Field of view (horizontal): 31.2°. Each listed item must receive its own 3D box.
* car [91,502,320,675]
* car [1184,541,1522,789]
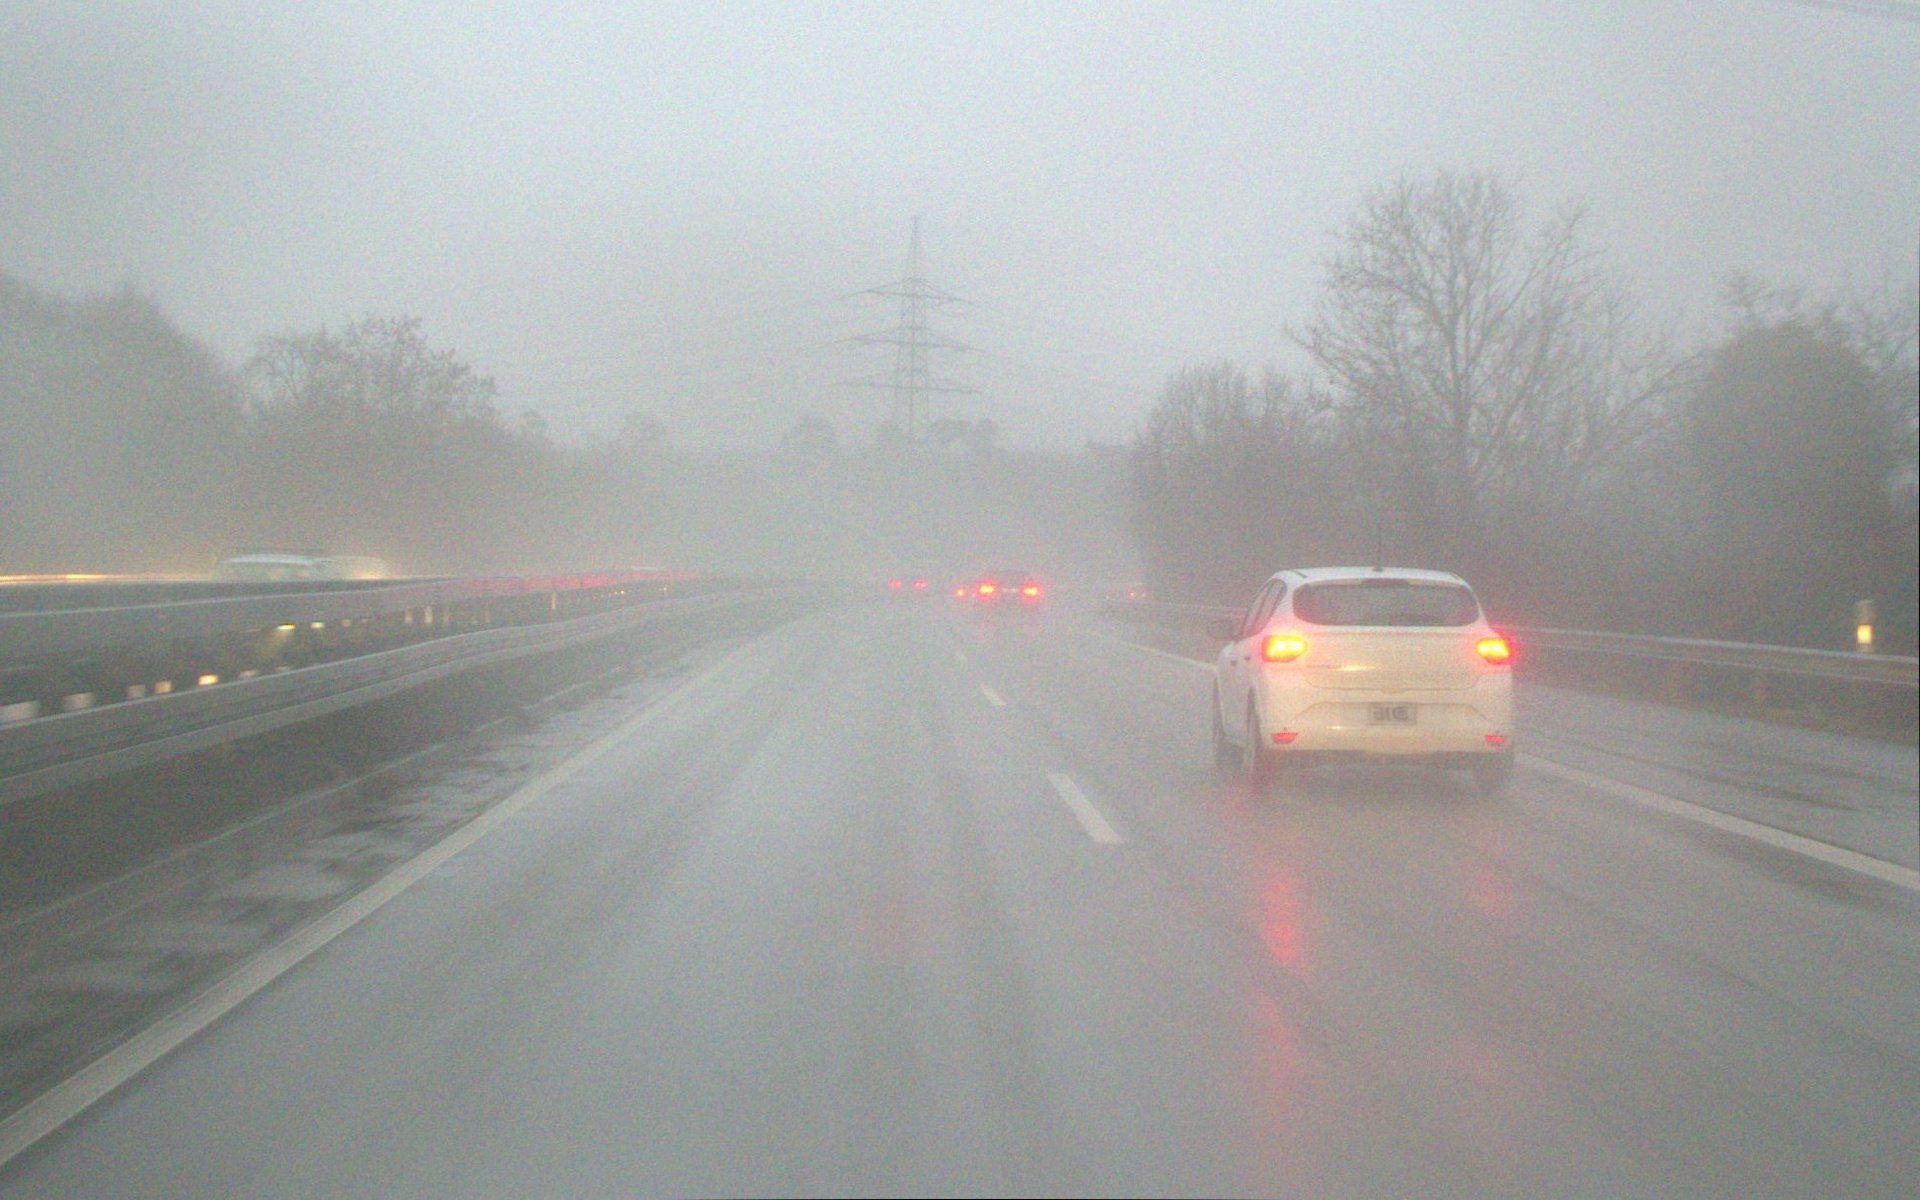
[{"bbox_3d":[-9.229,-0.163,42.334,1.993,2.007,4.000,1,1,-1],"label":"car"},{"bbox_3d":[2.731,0.398,24.689,1.845,1.630,3.768,1,1,-2],"label":"car"}]
